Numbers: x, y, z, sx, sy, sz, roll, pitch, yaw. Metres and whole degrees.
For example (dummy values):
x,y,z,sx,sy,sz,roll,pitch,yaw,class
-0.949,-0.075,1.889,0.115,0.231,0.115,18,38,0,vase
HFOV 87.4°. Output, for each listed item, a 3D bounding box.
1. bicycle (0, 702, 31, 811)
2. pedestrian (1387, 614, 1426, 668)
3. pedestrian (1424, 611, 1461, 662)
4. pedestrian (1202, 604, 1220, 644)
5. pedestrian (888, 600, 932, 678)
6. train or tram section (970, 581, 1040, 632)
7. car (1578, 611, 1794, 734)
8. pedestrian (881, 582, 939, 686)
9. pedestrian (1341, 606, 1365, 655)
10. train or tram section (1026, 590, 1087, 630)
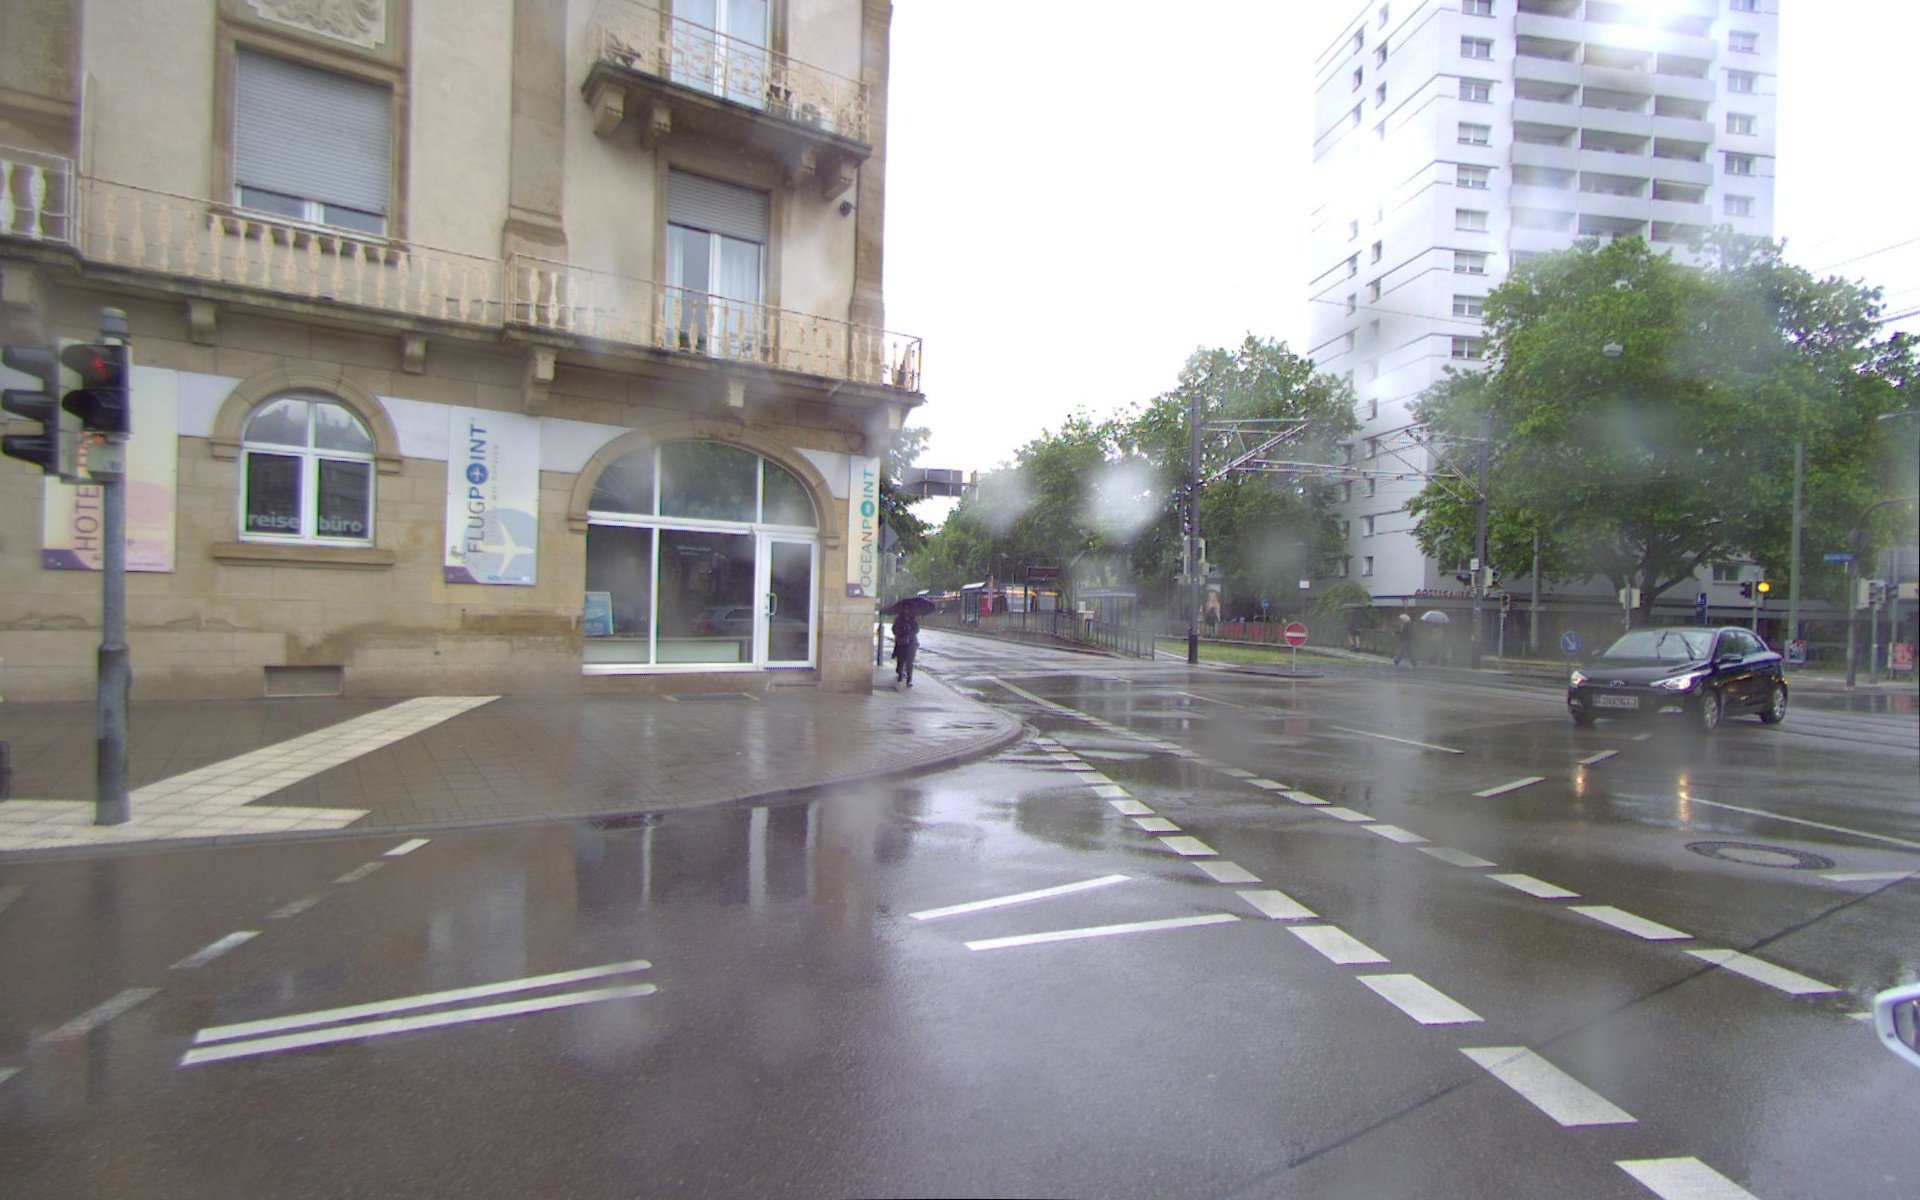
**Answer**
x,y,z,sx,sy,sz,roll,pitch,yaw,class
-7.085,1.023,6.364,1.023,0.672,1.477,4,0,26,bicycle
14.045,1.275,31.593,0.744,1.670,0.835,1,-1,-18,pedestrian
16.285,1.233,33.895,0.782,1.670,0.813,2,-1,-20,pedestrian
13.513,1.291,54.021,0.626,2.105,0.700,1,0,-14,pedestrian
-1.131,0.869,22.628,0.728,1.680,0.742,5,-1,-14,pedestrian
3.267,0.554,77.019,3.017,3.550,11.560,2,-1,-9,train or tram section
10.699,1.000,14.718,3.748,1.567,1.729,2,-2,-40,car
-1.005,0.684,20.167,0.906,1.991,0.699,4,-1,-13,pedestrian
15.382,1.197,39.318,0.628,1.863,0.678,1,-1,-10,pedestrian
9.217,1.004,97.519,3.017,3.550,11.560,2,-1,-9,train or tram section
